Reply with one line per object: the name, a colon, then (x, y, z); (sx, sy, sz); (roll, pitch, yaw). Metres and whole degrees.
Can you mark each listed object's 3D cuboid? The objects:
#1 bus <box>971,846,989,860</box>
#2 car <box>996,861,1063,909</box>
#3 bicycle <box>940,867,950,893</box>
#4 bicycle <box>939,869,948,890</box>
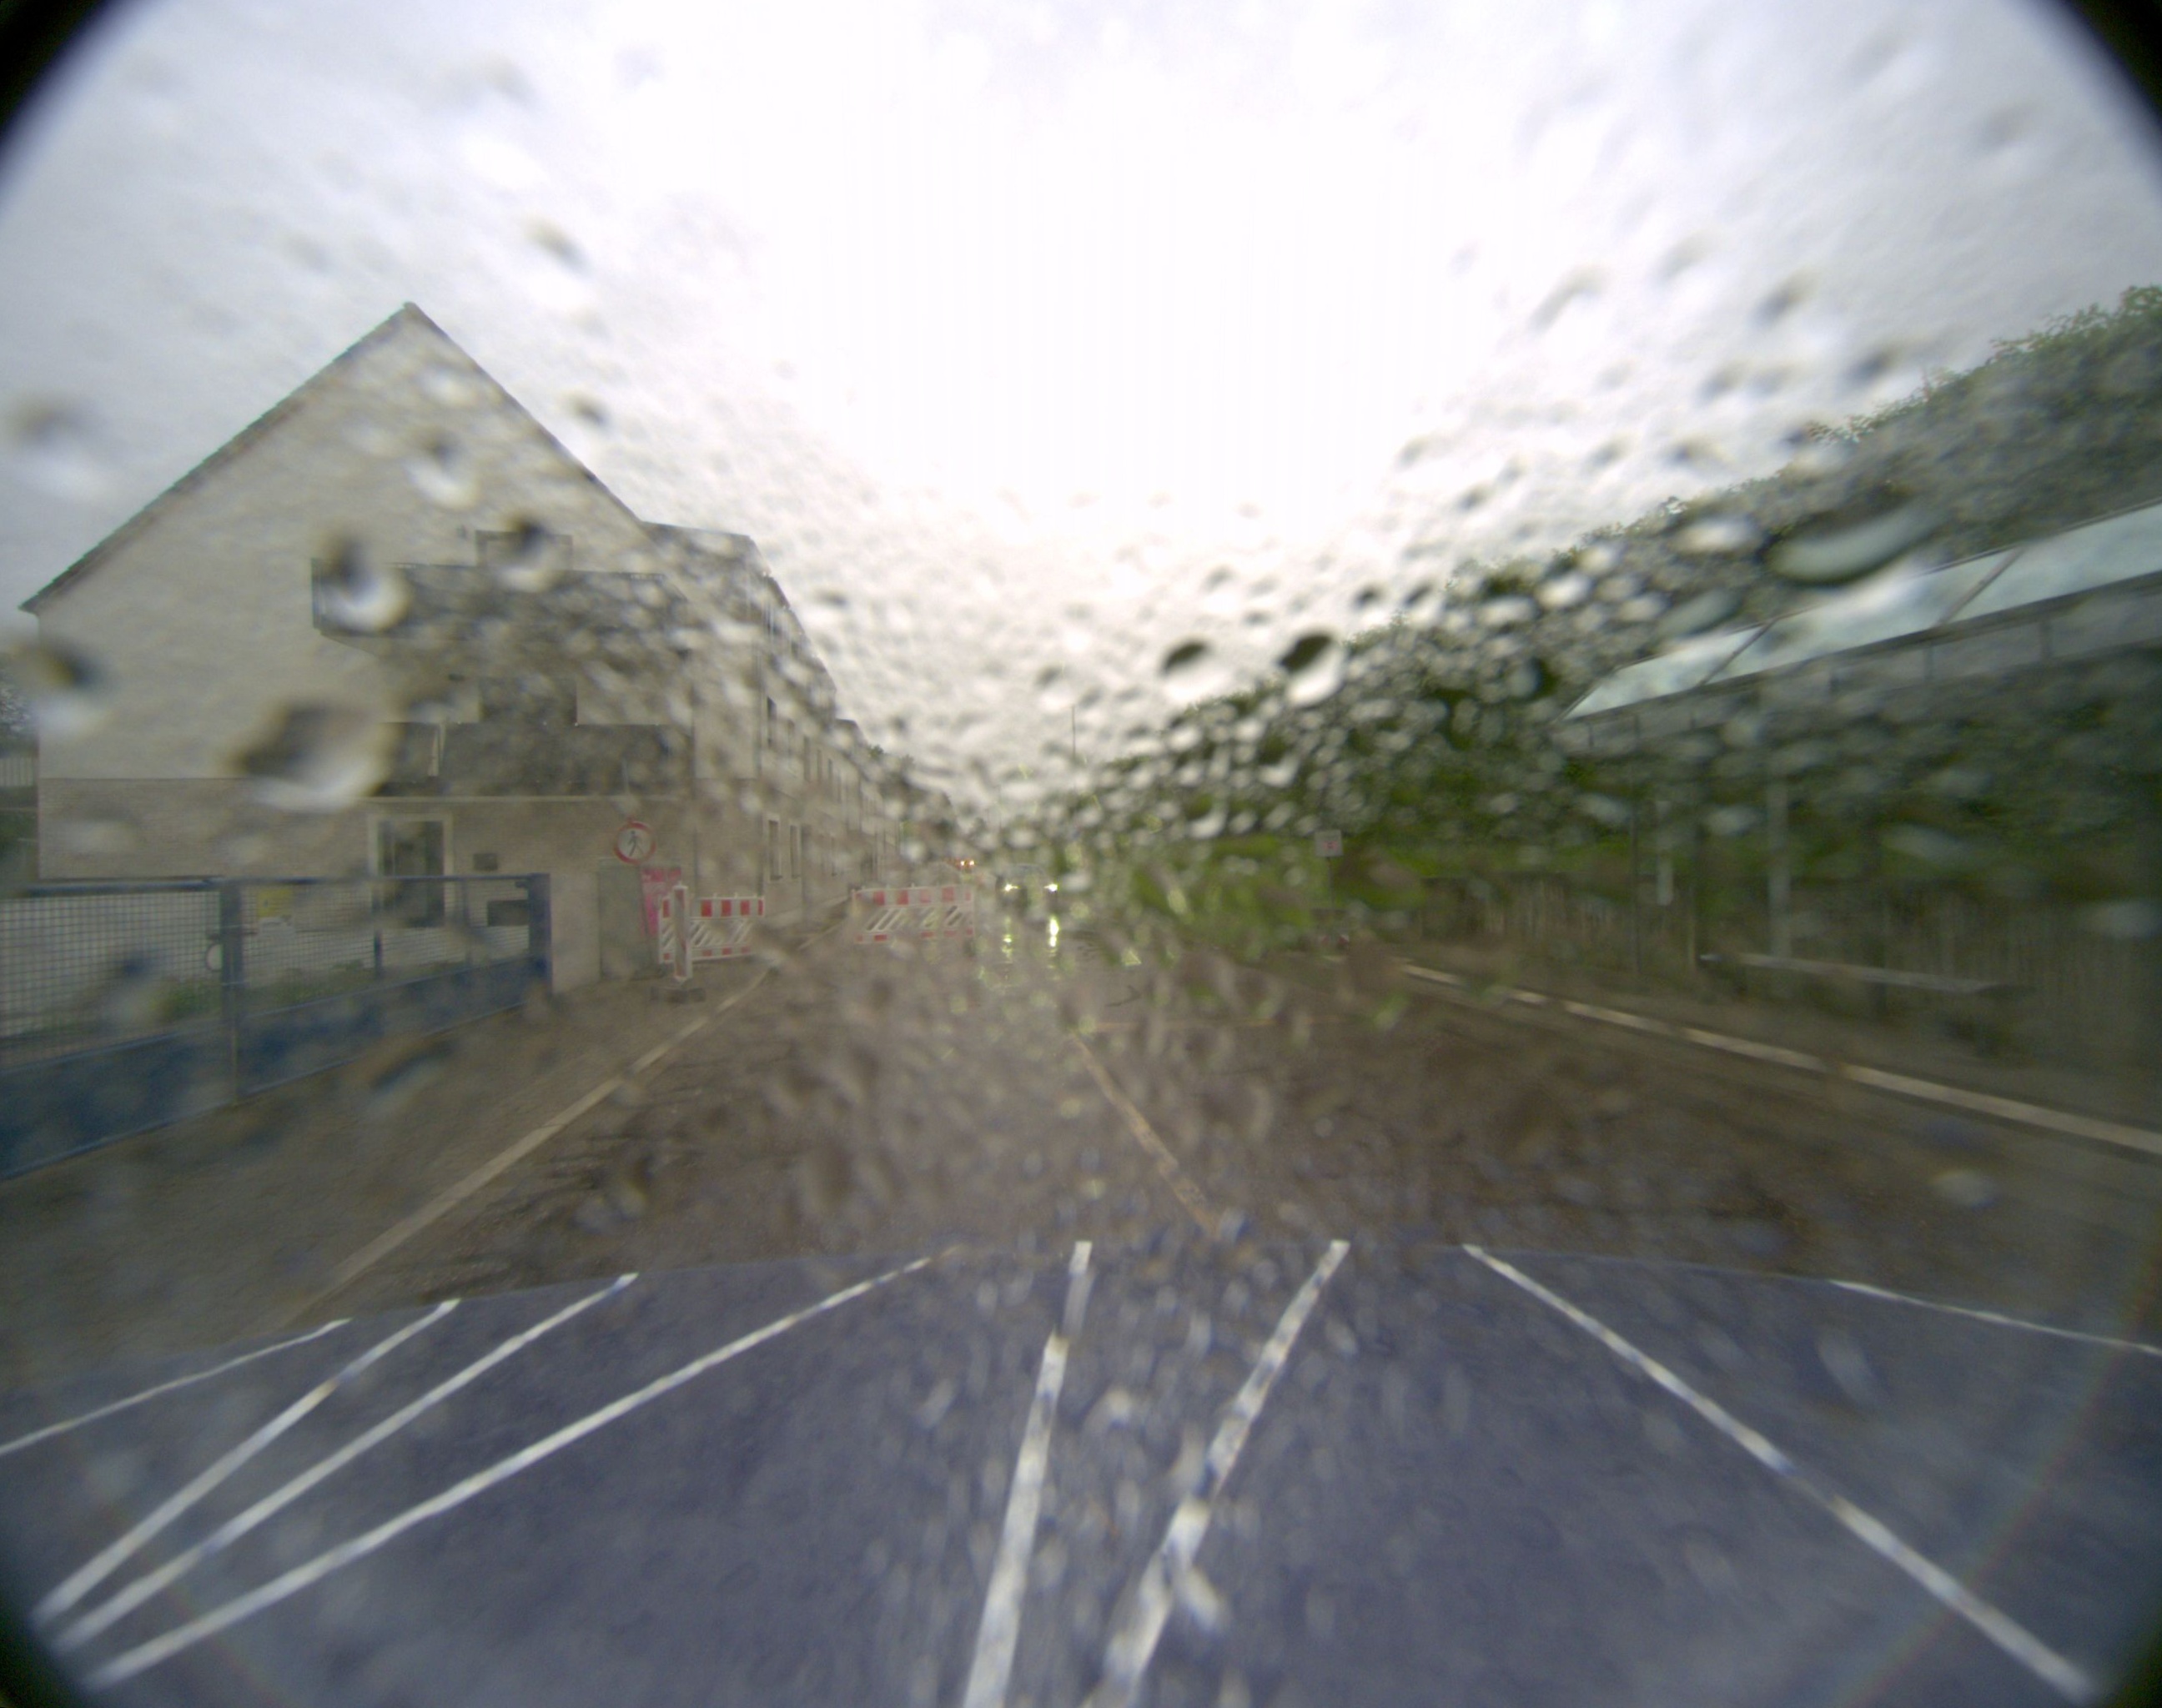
bus: (-23.930, -0.285, 180.541); (2.686, 2.987, 14.541); (0, 0, -2)
car: (-1.860, 0.994, 26.175); (1.853, 1.444, 4.527); (0, 0, -10)
bicycle: (-6.409, 1.214, 35.858); (0.407, 1.137, 1.220); (0, 1, -8)
bicycle: (-6.871, 1.255, 38.045); (0.407, 1.023, 1.220); (0, 1, -8)
